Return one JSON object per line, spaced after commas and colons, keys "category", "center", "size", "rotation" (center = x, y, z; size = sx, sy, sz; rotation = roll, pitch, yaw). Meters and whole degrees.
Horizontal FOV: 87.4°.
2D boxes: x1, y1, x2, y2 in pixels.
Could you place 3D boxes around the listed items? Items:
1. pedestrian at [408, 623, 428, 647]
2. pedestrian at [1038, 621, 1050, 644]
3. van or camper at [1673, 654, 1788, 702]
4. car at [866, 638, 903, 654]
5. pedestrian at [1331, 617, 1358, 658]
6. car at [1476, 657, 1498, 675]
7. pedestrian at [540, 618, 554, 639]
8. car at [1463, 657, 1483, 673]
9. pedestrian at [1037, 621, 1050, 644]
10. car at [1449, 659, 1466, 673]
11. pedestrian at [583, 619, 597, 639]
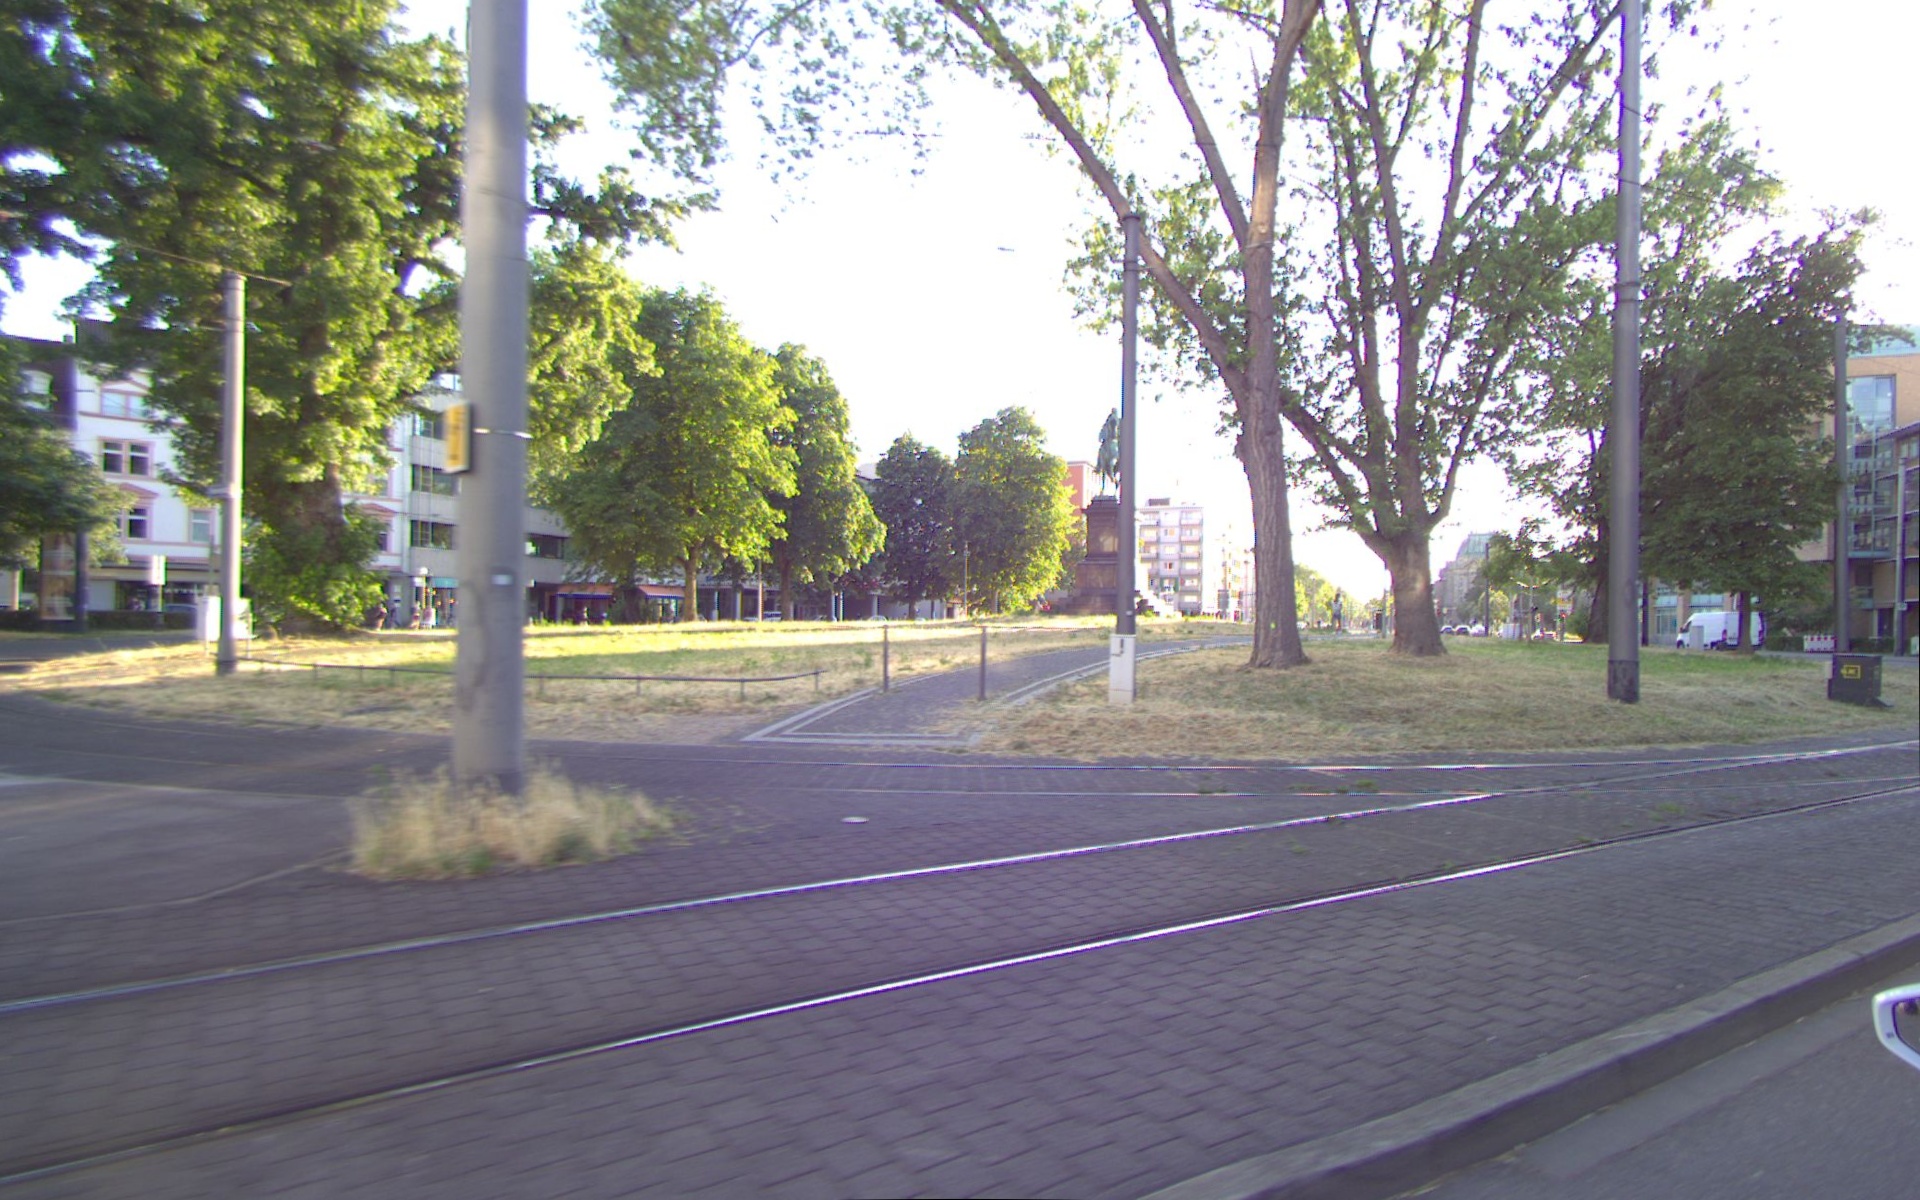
{"category": "pedestrian", "center": [-33.996, 2.188, 63.008], "size": [0.730, 1.523, 0.772], "rotation": [1, -1, 8]}
{"category": "pedestrian", "center": [6.081, 2.330, 72.709], "size": [0.756, 1.627, 0.638], "rotation": [1, -1, 17]}
{"category": "van or camper", "center": [45.410, 4.527, 59.415], "size": [2.563, 2.505, 6.324], "rotation": [1, -1, 7]}
{"category": "car", "center": [-7.239, 4.402, 96.317], "size": [1.848, 1.439, 3.922], "rotation": [1, -2, 26]}
{"category": "pedestrian", "center": [15.367, 1.486, 40.172], "size": [0.760, 1.627, 0.635], "rotation": [1, -1, -19]}
{"category": "car", "center": [65.834, 8.240, 125.579], "size": [2.104, 2.040, 3.998], "rotation": [1, -1, 23]}
{"category": "pedestrian", "center": [-30.580, 2.089, 74.377], "size": [0.766, 1.523, 0.736], "rotation": [2, -2, -43]}
{"category": "car", "center": [71.712, 9.017, 140.434], "size": [2.104, 2.040, 3.998], "rotation": [1, -1, 23]}
{"category": "pedestrian", "center": [5.959, 2.306, 71.901], "size": [0.756, 1.627, 0.638], "rotation": [1, -1, 17]}
{"category": "car", "center": [78.852, 10.395, 159.321], "size": [2.104, 2.040, 3.998], "rotation": [1, -1, 23]}
{"category": "pedestrian", "center": [-28.463, 2.205, 77.288], "size": [0.766, 1.523, 0.736], "rotation": [2, -2, -43]}
